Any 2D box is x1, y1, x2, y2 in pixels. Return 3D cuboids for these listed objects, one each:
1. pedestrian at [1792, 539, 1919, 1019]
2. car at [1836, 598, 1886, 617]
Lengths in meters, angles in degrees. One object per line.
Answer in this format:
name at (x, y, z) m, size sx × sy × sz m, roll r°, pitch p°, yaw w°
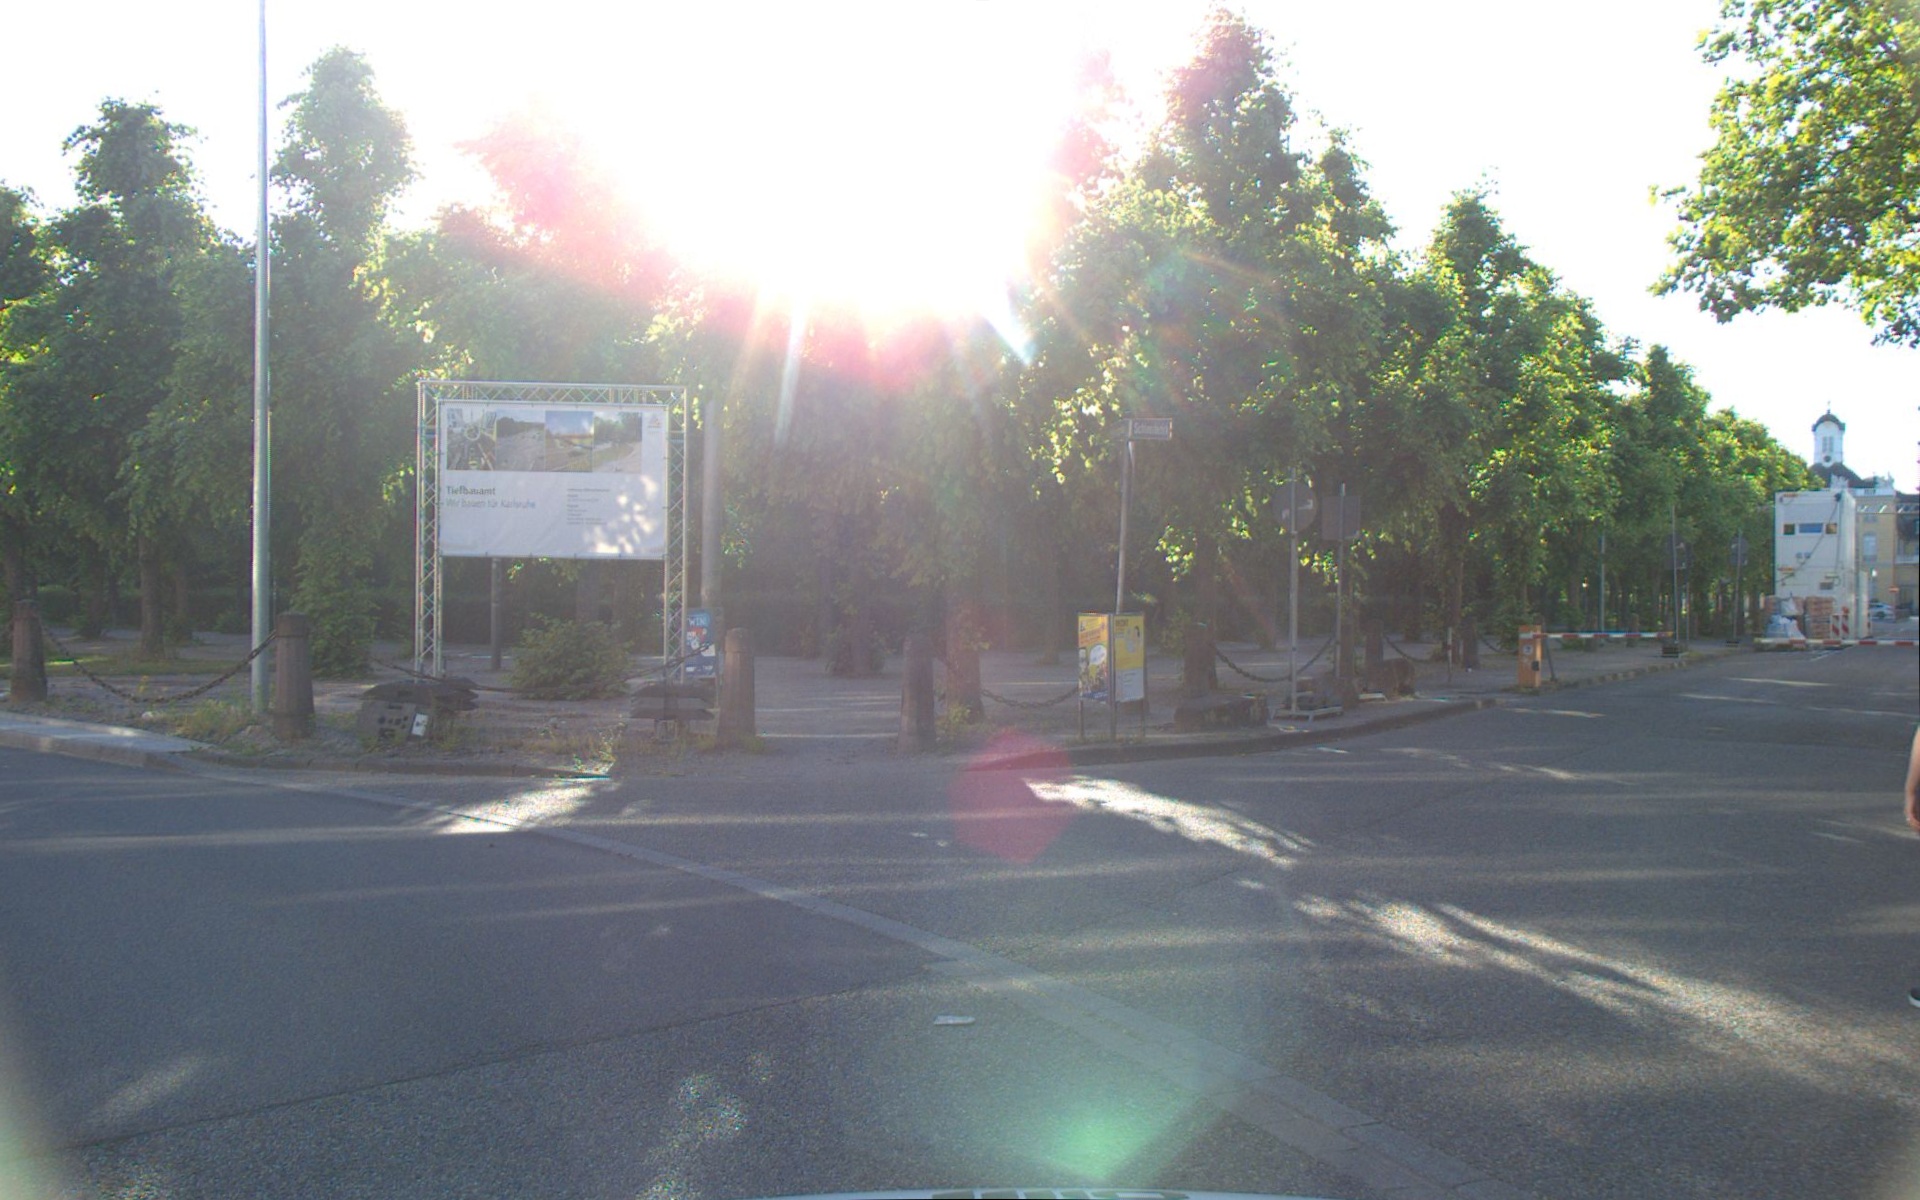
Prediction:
pedestrian at (3.657, 0.621, 6.122) m, size 0.693 × 1.652 × 0.939 m, roll 0°, pitch -1°, yaw 0°
car at (92.005, 0.763, 168.932) m, size 4.473 × 1.822 × 1.996 m, roll 1°, pitch 1°, yaw 31°
